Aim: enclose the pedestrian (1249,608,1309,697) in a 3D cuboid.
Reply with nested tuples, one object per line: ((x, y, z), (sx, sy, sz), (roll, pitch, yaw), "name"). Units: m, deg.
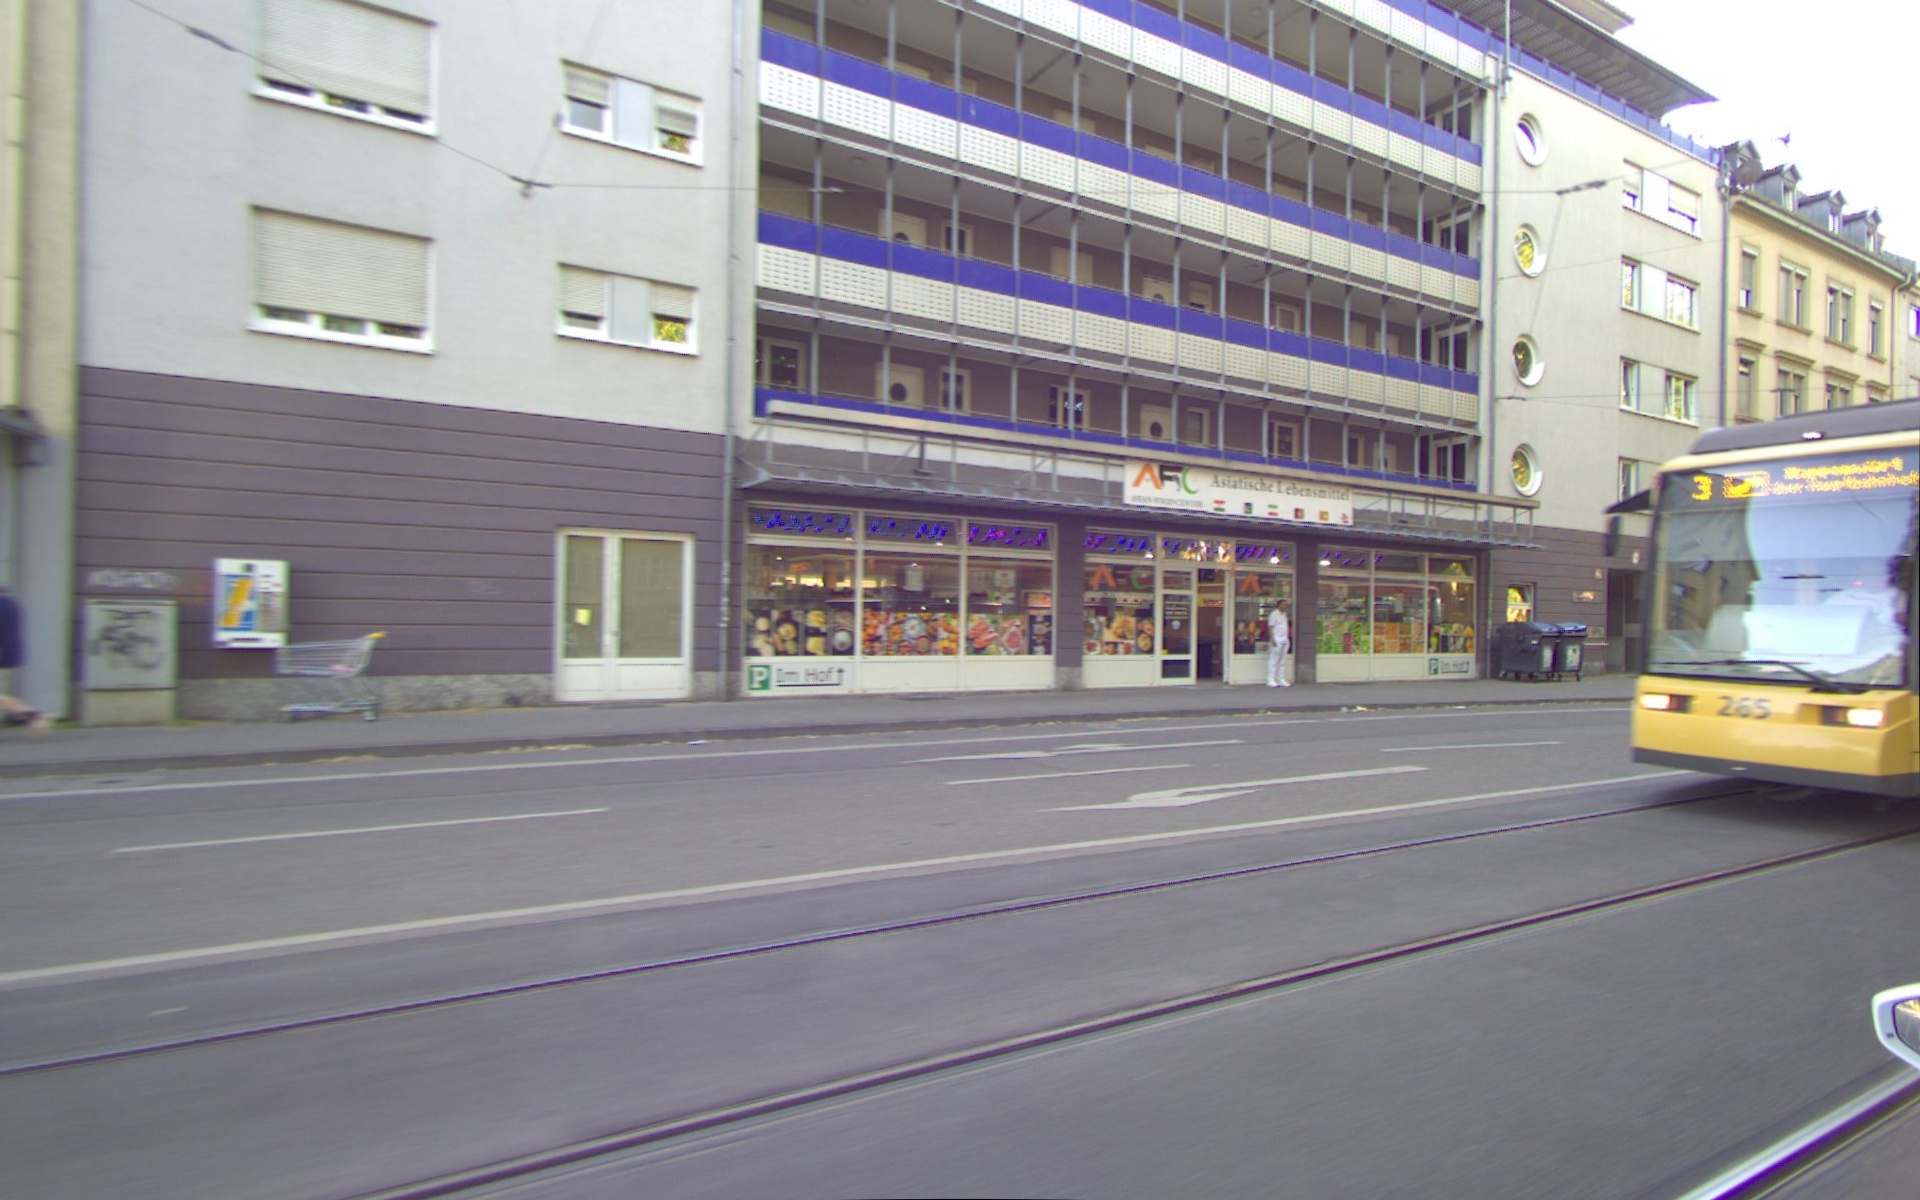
((6.565, 1.063, 20.667), (0.810, 1.736, 0.783), (1, 2, -30), "pedestrian")

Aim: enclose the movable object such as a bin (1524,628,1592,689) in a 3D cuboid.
((14.884, 1.435, 25.000), (1.198, 1.470, 1.050), (1, -1, -34), "movable object such as a bin")

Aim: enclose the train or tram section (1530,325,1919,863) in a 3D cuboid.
((11.427, 0.113, 10.962), (13.213, 3.532, 2.895), (1, -2, -31), "train or tram section")

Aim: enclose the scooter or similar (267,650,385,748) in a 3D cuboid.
((-7.558, 1.154, 12.034), (1.149, 1.070, 0.725), (1, 0, -30), "scooter or similar")

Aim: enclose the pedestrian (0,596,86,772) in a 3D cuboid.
((-9.558, 0.832, 10.197), (0.893, 1.696, 0.712), (1, 2, -29), "pedestrian")

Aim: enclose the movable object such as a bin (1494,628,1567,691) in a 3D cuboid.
((13.730, 1.403, 24.183), (1.201, 1.470, 1.132), (1, -1, -34), "movable object such as a bin")
